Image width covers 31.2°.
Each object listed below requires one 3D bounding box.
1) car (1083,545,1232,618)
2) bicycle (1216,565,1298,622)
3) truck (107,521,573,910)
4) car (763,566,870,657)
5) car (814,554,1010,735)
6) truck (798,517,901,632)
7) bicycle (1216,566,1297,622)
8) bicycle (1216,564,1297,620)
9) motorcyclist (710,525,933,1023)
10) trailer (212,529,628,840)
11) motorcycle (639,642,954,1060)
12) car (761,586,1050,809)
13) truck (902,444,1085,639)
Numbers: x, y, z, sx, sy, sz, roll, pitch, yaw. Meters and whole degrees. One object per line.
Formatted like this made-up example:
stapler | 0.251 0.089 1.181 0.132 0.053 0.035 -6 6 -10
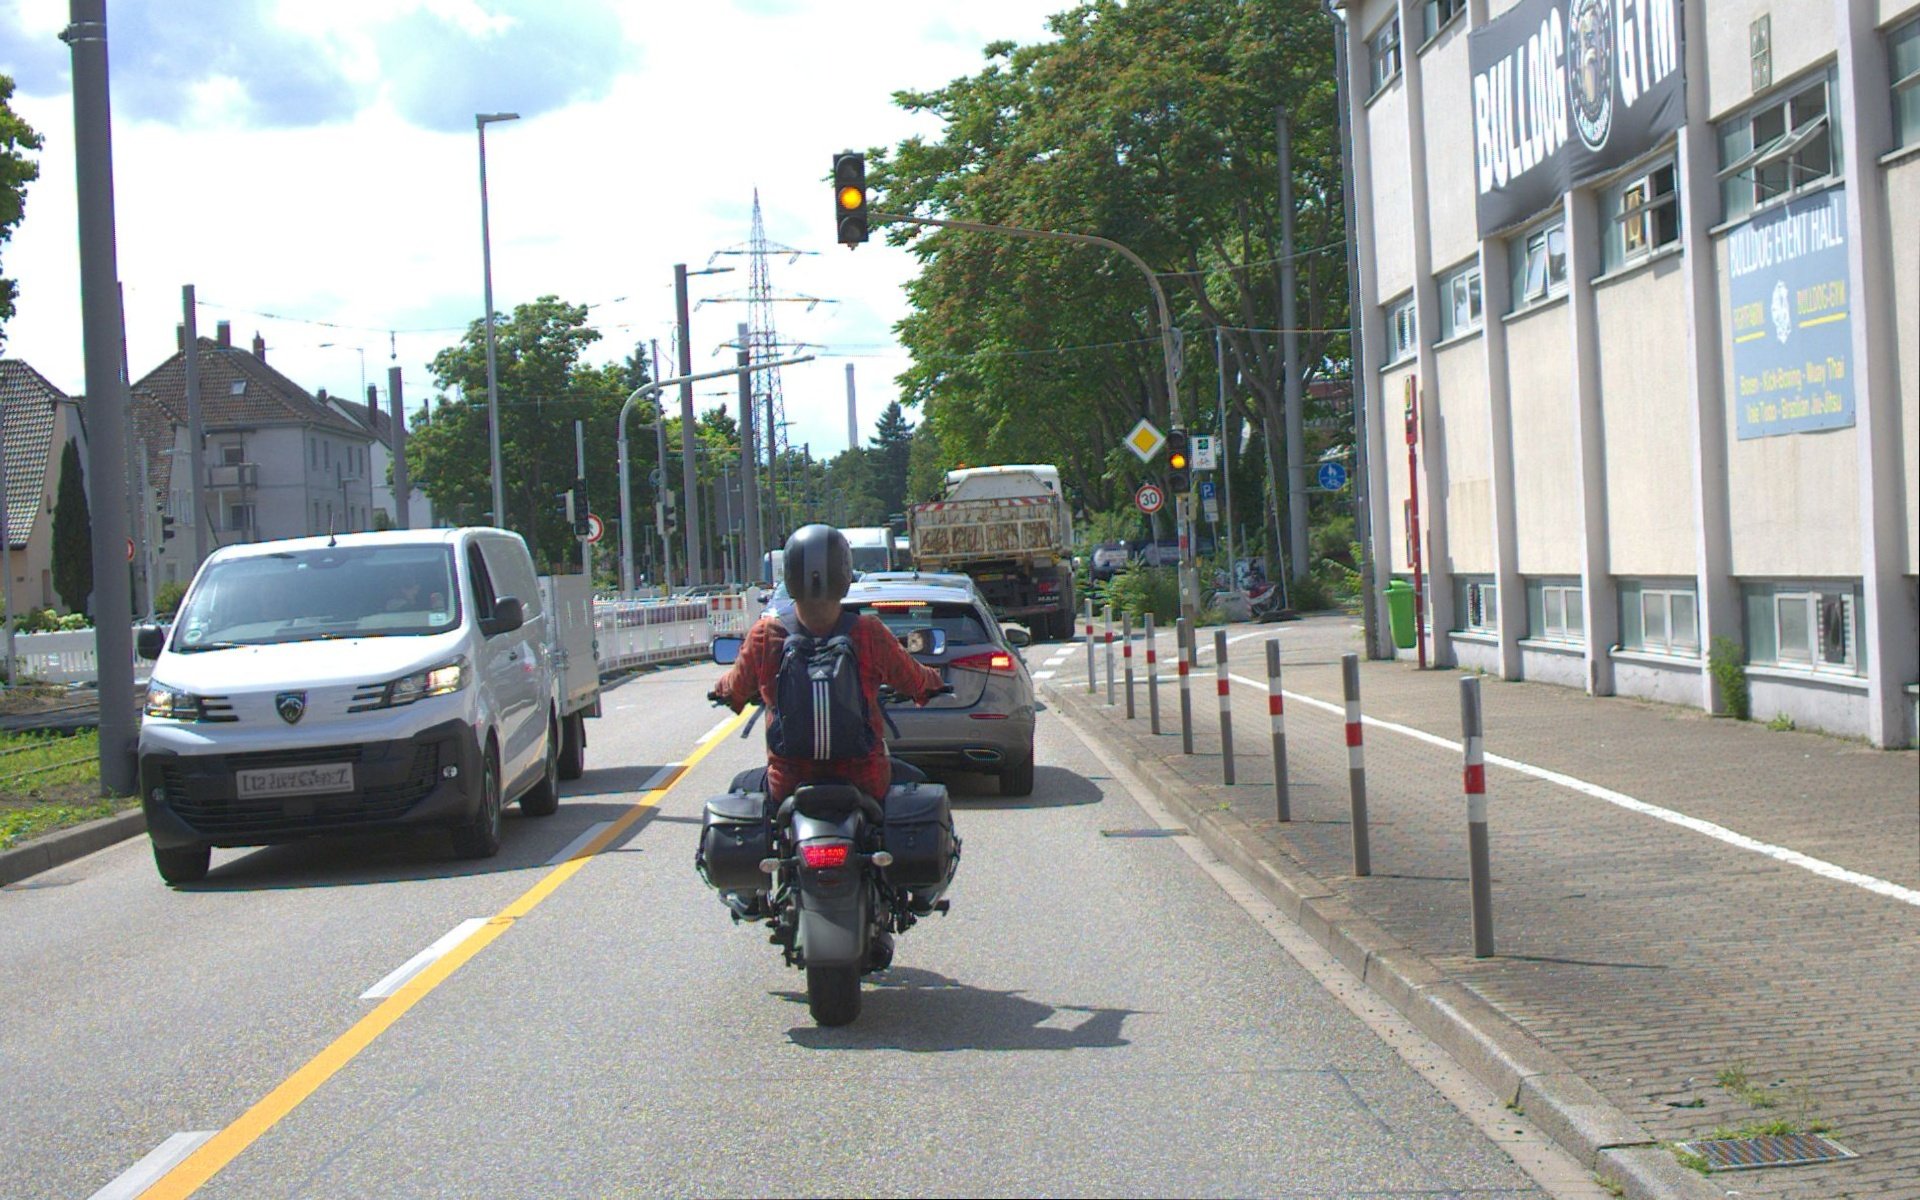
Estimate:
car | 5.344 -0.517 92.940 1.802 1.919 3.989 -1 0 45
bicycle | 6.291 -0.137 72.737 1.708 1.168 0.438 -1 0 5
truck | -3.545 0.549 20.638 1.820 1.903 5.117 -5 1 -1
car | -2.570 0.189 62.308 1.645 1.493 4.269 -2 1 1
car | -0.466 0.439 38.275 1.901 1.706 4.719 -3 2 2
truck | -2.601 -0.659 82.183 2.093 2.468 5.196 -4 2 0
bicycle | 6.317 -0.135 73.208 1.708 1.168 0.438 -1 0 5
bicycle | 6.356 -0.172 73.805 1.708 1.168 0.438 -1 0 5
motorcyclist | -0.451 0.560 11.452 0.698 1.599 0.692 -1 0 0
trailer | -3.721 0.538 24.742 2.062 1.829 5.485 -5 0 -1
motorcycle | -0.509 0.777 11.687 0.942 1.196 2.472 -1 1 0
car | -0.463 0.615 24.128 1.731 1.399 4.087 0 1 -5
truck | 0.694 -0.967 60.543 2.967 3.162 7.763 -1 0 2
